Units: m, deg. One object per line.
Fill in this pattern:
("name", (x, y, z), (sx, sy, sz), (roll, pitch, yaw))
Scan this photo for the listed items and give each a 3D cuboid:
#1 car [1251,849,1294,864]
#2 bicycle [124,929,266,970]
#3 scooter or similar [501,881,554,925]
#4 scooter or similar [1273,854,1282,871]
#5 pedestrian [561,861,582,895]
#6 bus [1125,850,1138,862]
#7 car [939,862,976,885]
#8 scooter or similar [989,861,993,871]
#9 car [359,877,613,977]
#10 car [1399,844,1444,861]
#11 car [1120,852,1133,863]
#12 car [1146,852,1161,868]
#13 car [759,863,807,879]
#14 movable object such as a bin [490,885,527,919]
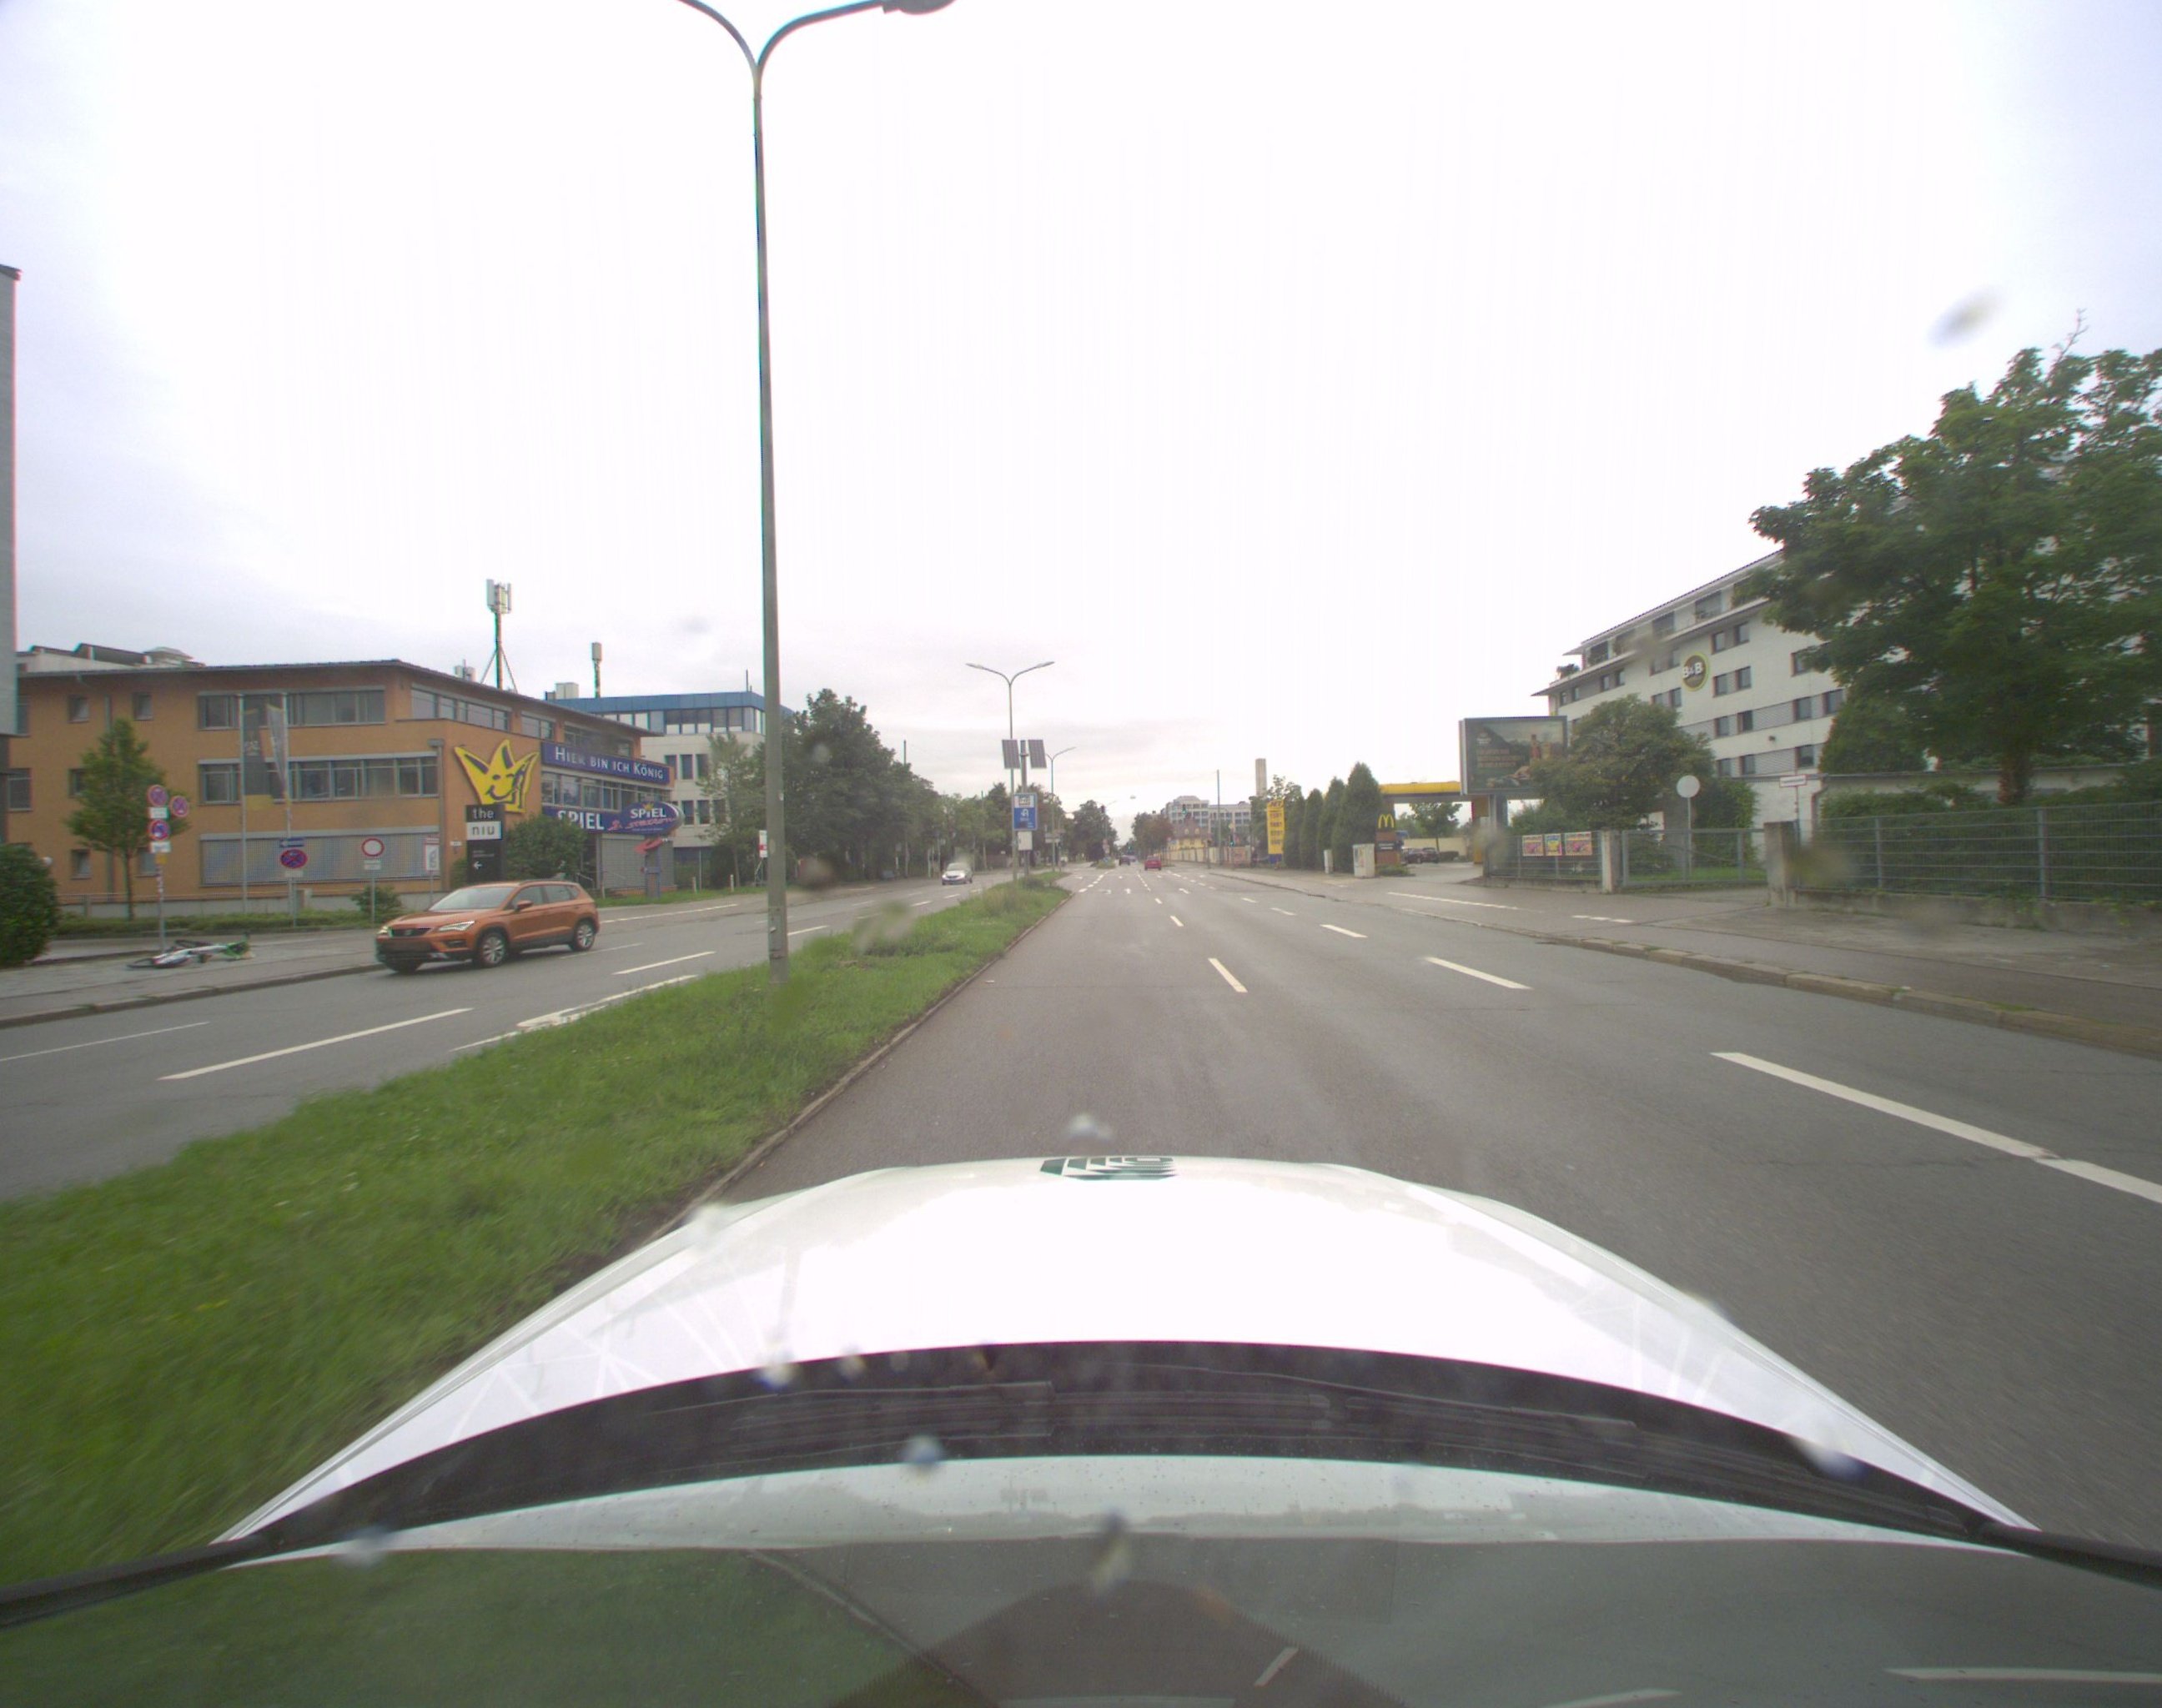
("car", (20.501, 0.302, 87.436), (4.230, 1.428, 2.003), (-2, -1, 5))
("bicycle", (-16.541, 1.774, 15.275), (0.717, 0.548, 1.733), (1, 0, 2))
("scooter or similar", (-17.401, 1.529, 25.650), (0.583, 1.277, 1.405), (3, 0, 3))
("scooter or similar", (14.840, 0.645, 61.497), (0.354, 1.242, 1.548), (-5, -1, 7))
("pedestrian", (-26.005, 1.194, 41.572), (0.656, 1.712, 0.662), (-1, -1, -1))
("bus", (13.783, 0.456, 221.999), (3.209, 3.127, 10.347), (-1, 0, 1))
("car", (-9.219, 1.418, 61.132), (1.806, 1.557, 4.030), (-3, 0, 4))
("scooter or similar", (-12.890, 1.649, 116.914), (0.370, 1.424, 1.399), (-1, 0, -13))
("car", (-11.577, 1.327, 16.288), (1.729, 1.548, 4.306), (-3, 0, 2))
("car", (29.591, -0.091, 70.967), (1.697, 1.384, 4.352), (-1, 0, -7))
("car", (7.846, 0.612, 139.960), (2.076, 1.866, 4.387), (-1, 0, 1))
("car", (8.055, 0.675, 90.823), (1.478, 1.715, 3.552), (-1, 0, 1))
("car", (-28.974, 1.638, 79.276), (4.128, 1.418, 1.879), (-1, 0, 19))
("movable object such as a bin", (-19.051, 1.583, 27.106), (0.734, 1.078, 0.656), (-1, -1, 3))
